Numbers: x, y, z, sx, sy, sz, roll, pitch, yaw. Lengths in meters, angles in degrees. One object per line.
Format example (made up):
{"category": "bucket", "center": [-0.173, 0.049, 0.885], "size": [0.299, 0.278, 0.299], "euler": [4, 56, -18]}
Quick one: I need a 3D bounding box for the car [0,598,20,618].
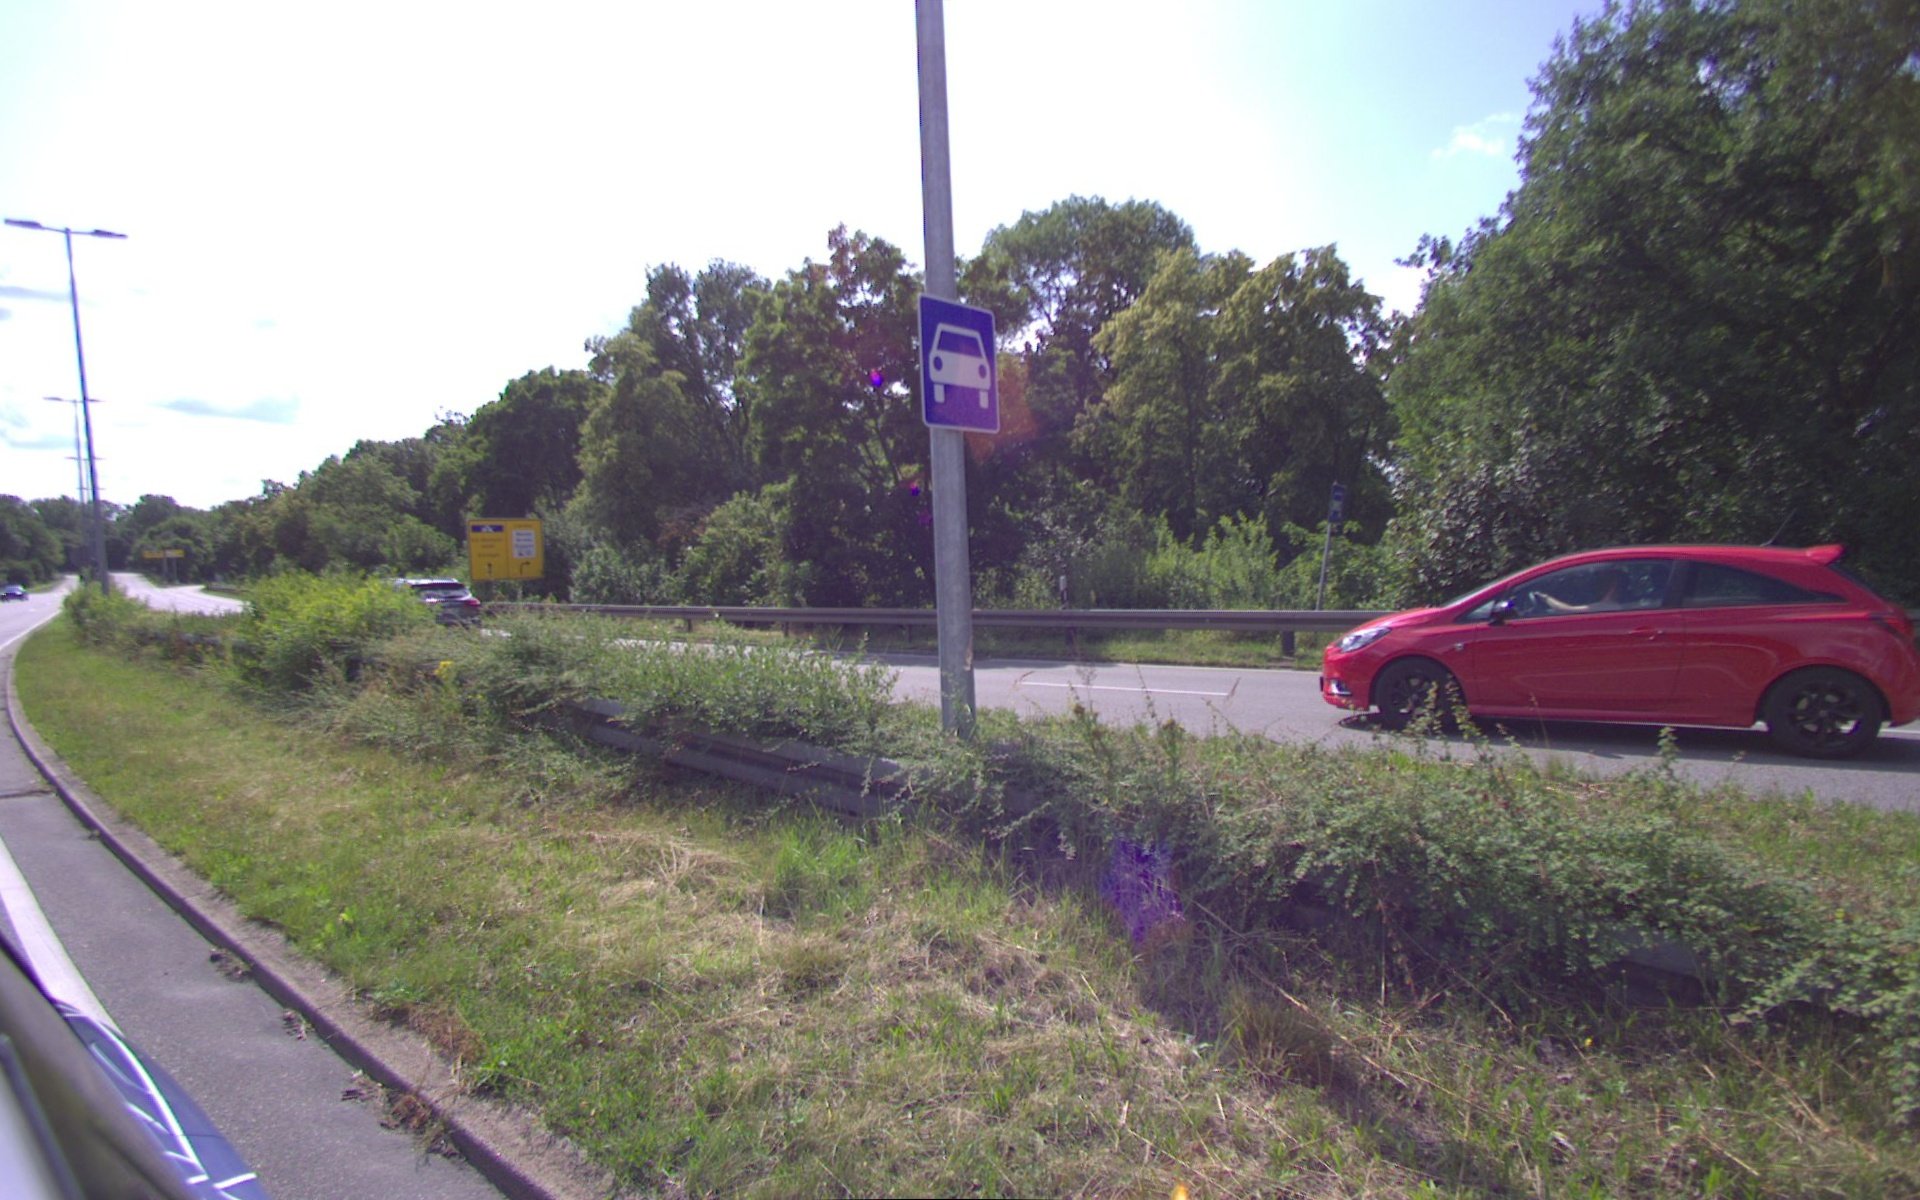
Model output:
{"category": "car", "center": [-101.198, 0.863, 107.466], "size": [1.948, 2.028, 4.004], "euler": [-2, 2, -43]}

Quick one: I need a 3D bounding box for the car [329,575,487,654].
{"category": "car", "center": [-12.311, 0.311, 22.452], "size": [4.280, 1.598, 1.692], "euler": [-1, 0, 41]}

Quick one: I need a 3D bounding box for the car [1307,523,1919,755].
{"category": "car", "center": [4.974, 0.260, 7.916], "size": [3.990, 1.443, 1.568], "euler": [-1, 0, 34]}
